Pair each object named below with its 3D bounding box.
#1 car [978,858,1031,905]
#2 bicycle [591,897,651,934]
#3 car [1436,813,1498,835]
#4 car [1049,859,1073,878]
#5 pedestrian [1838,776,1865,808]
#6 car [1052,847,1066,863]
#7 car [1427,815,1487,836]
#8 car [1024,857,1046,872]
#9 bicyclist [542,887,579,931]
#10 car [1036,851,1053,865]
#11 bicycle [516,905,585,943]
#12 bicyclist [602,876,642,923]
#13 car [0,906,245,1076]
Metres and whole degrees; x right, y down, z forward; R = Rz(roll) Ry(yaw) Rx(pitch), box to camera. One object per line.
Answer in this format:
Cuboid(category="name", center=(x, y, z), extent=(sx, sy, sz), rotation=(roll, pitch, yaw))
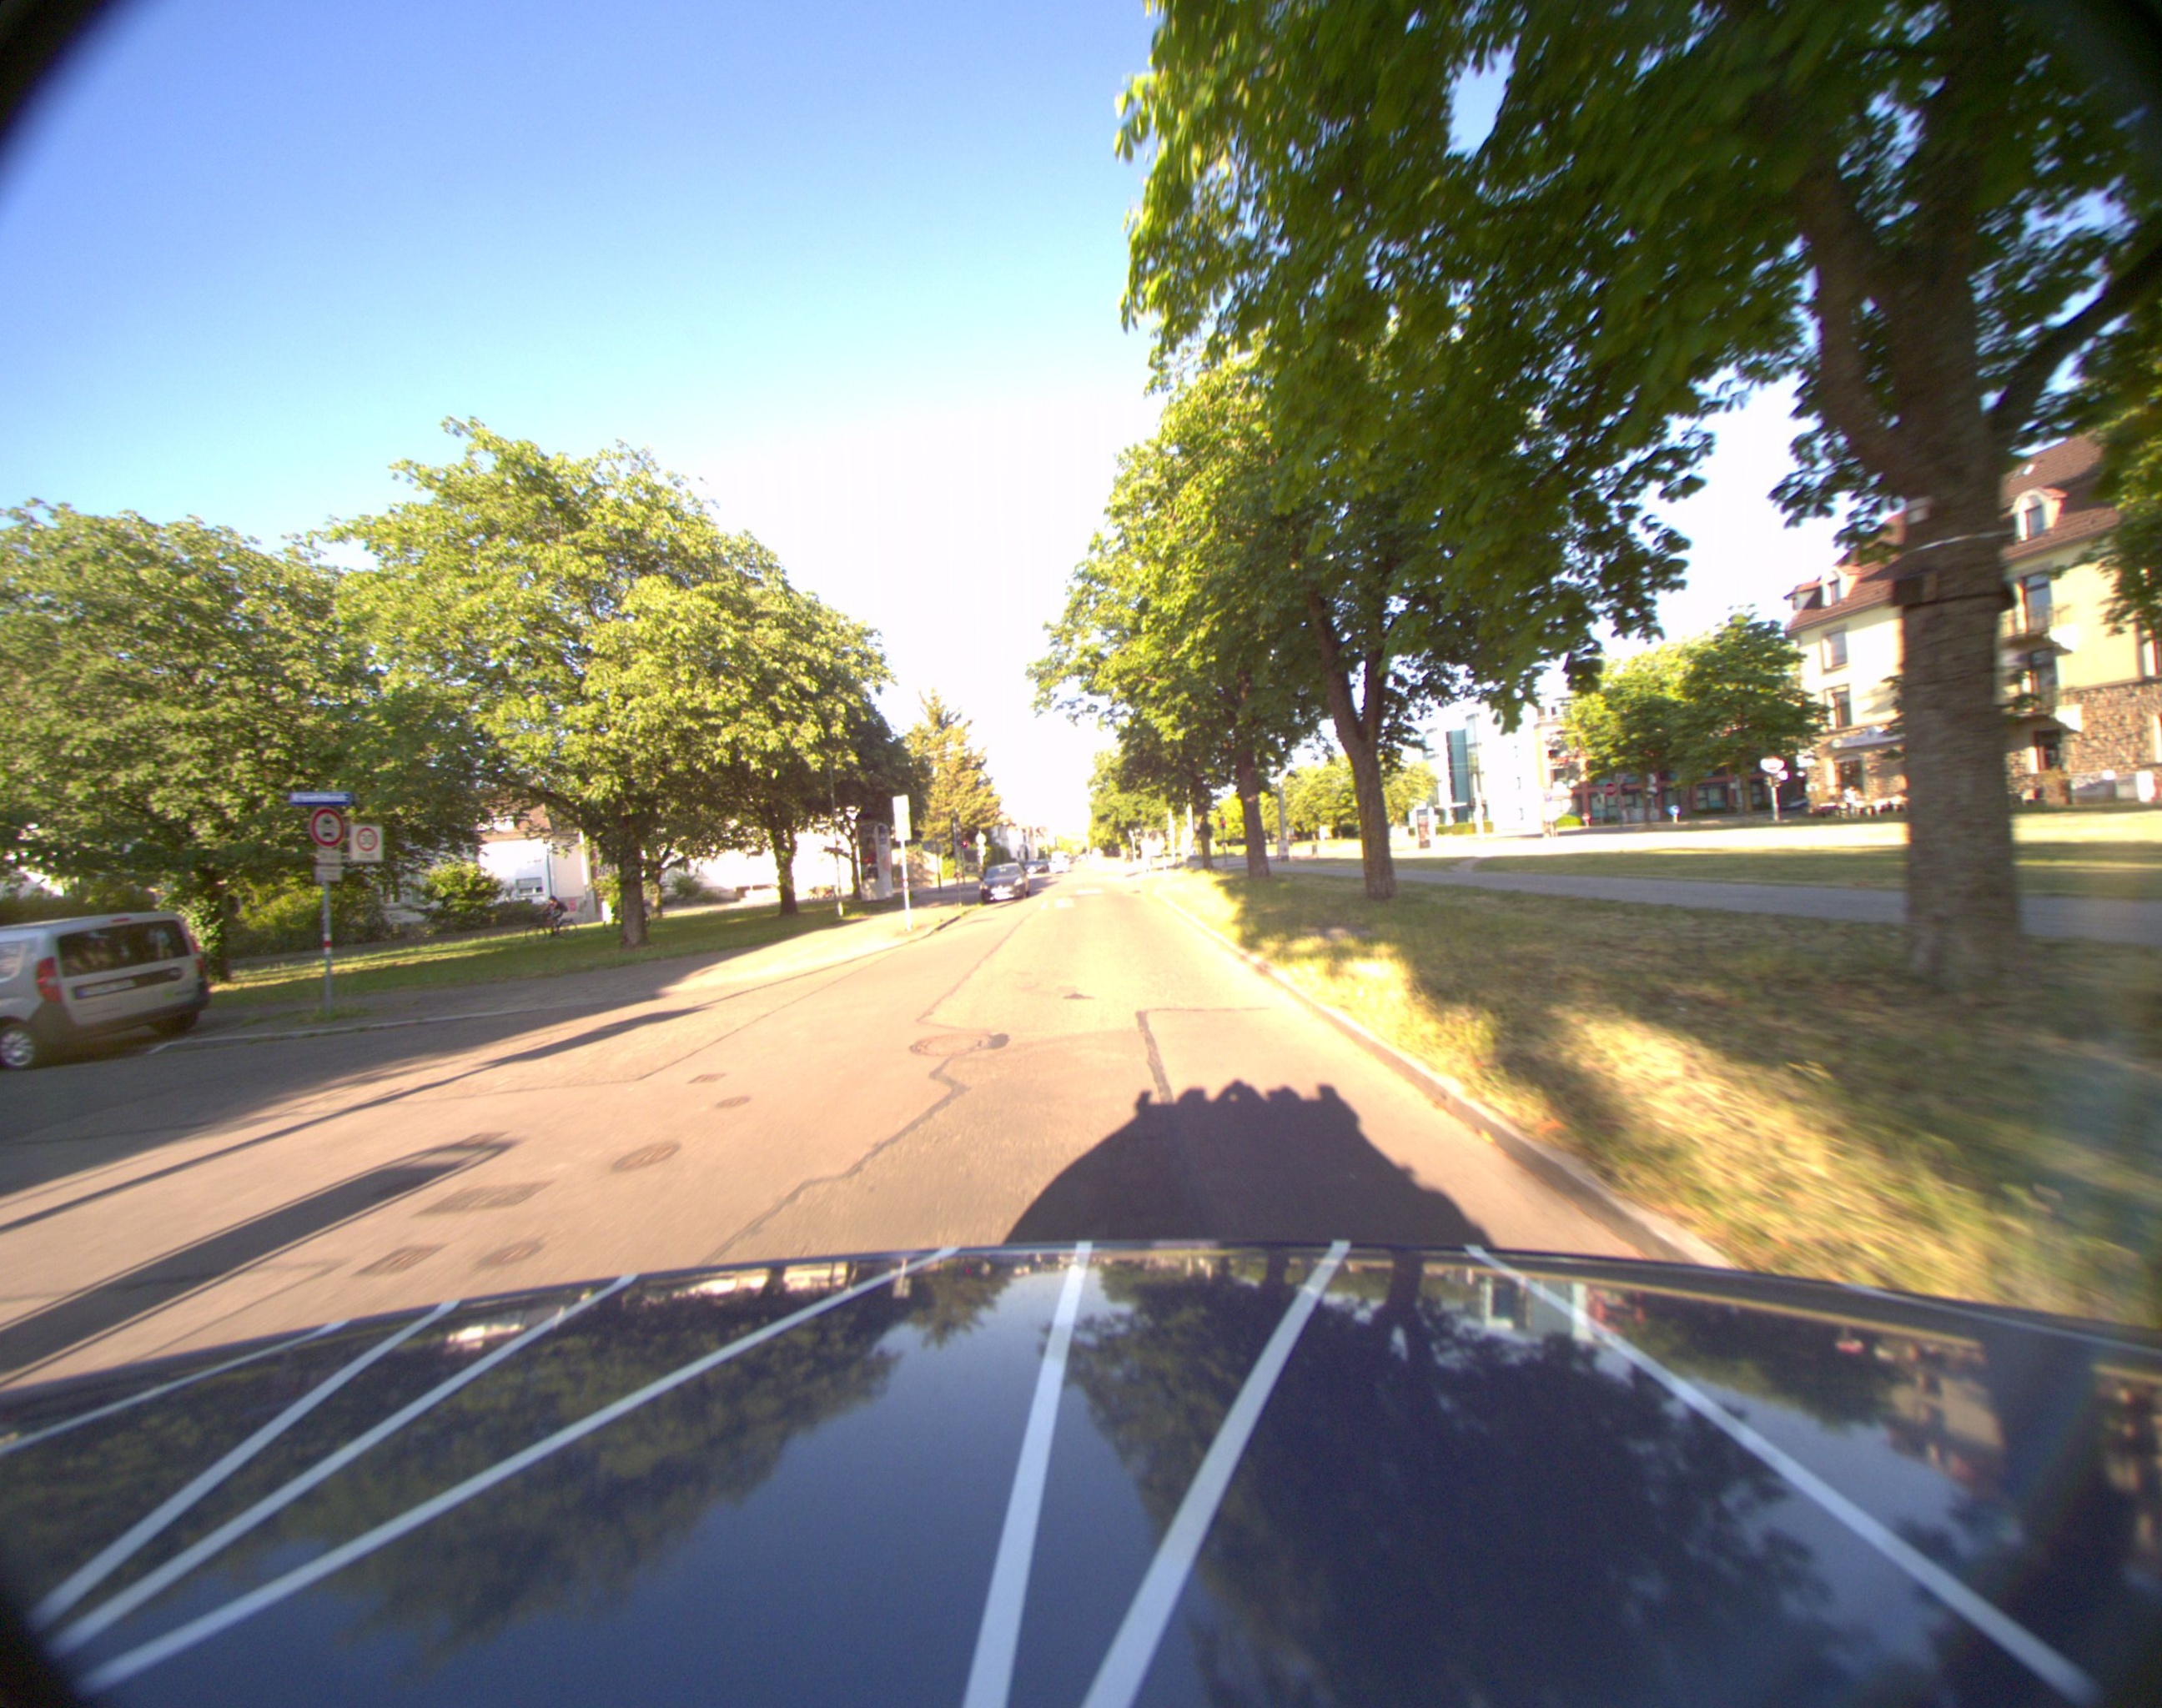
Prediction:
Cuboid(category="car", center=(-3.036, 1.058, 31.121), extent=(1.730, 1.502, 4.539), rotation=(-7, 1, -2))
Cuboid(category="bicycle", center=(-18.352, 2.427, 30.382), extent=(0.573, 1.177, 1.908), rotation=(-6, 1, 27))
Cuboid(category="car", center=(39.608, -3.058, 77.999), extent=(5.220, 1.662, 1.999), rotation=(-6, 1, -2))
Cuboid(category="car", center=(-2.063, 1.451, 75.931), extent=(1.999, 1.774, 3.999), rotation=(-3, -1, -6))
Cuboid(category="pedestrian", center=(42.192, -3.383, 41.615), extent=(0.617, 1.615, 0.682), rotation=(-7, 2, -1))
Cuboid(category="car", center=(-4.017, 0.151, 138.718), extent=(2.132, 2.461, 5.723), rotation=(-7, 1, 1))
Cuboid(category="car", center=(39.688, -3.050, 80.305), extent=(5.220, 1.662, 1.967), rotation=(-6, 2, -2))
Cuboid(category="car", center=(-4.909, 1.126, 81.656), extent=(2.009, 1.490, 4.914), rotation=(-3, 0, -1))
Cuboid(category="bicyclist", center=(-19.666, 2.075, 28.729), extent=(0.712, 1.553, 0.895), rotation=(-1, 2, 38))
Cuboid(category="car", center=(-4.616, 0.492, 97.167), extent=(1.796, 1.586, 4.077), rotation=(-7, 0, 1))
Cuboid(category="bicycle", center=(-19.841, 2.592, 28.465), extent=(0.491, 1.177, 1.967), rotation=(-1, 3, 38))
Cuboid(category="bicyclist", center=(-18.373, 1.800, 30.427), extent=(0.815, 1.722, 0.895), rotation=(-6, 2, 26))
Cuboid(category="car", center=(-14.870, 1.934, 10.496), extent=(4.252, 1.864, 2.030), rotation=(-5, 2, 2))
